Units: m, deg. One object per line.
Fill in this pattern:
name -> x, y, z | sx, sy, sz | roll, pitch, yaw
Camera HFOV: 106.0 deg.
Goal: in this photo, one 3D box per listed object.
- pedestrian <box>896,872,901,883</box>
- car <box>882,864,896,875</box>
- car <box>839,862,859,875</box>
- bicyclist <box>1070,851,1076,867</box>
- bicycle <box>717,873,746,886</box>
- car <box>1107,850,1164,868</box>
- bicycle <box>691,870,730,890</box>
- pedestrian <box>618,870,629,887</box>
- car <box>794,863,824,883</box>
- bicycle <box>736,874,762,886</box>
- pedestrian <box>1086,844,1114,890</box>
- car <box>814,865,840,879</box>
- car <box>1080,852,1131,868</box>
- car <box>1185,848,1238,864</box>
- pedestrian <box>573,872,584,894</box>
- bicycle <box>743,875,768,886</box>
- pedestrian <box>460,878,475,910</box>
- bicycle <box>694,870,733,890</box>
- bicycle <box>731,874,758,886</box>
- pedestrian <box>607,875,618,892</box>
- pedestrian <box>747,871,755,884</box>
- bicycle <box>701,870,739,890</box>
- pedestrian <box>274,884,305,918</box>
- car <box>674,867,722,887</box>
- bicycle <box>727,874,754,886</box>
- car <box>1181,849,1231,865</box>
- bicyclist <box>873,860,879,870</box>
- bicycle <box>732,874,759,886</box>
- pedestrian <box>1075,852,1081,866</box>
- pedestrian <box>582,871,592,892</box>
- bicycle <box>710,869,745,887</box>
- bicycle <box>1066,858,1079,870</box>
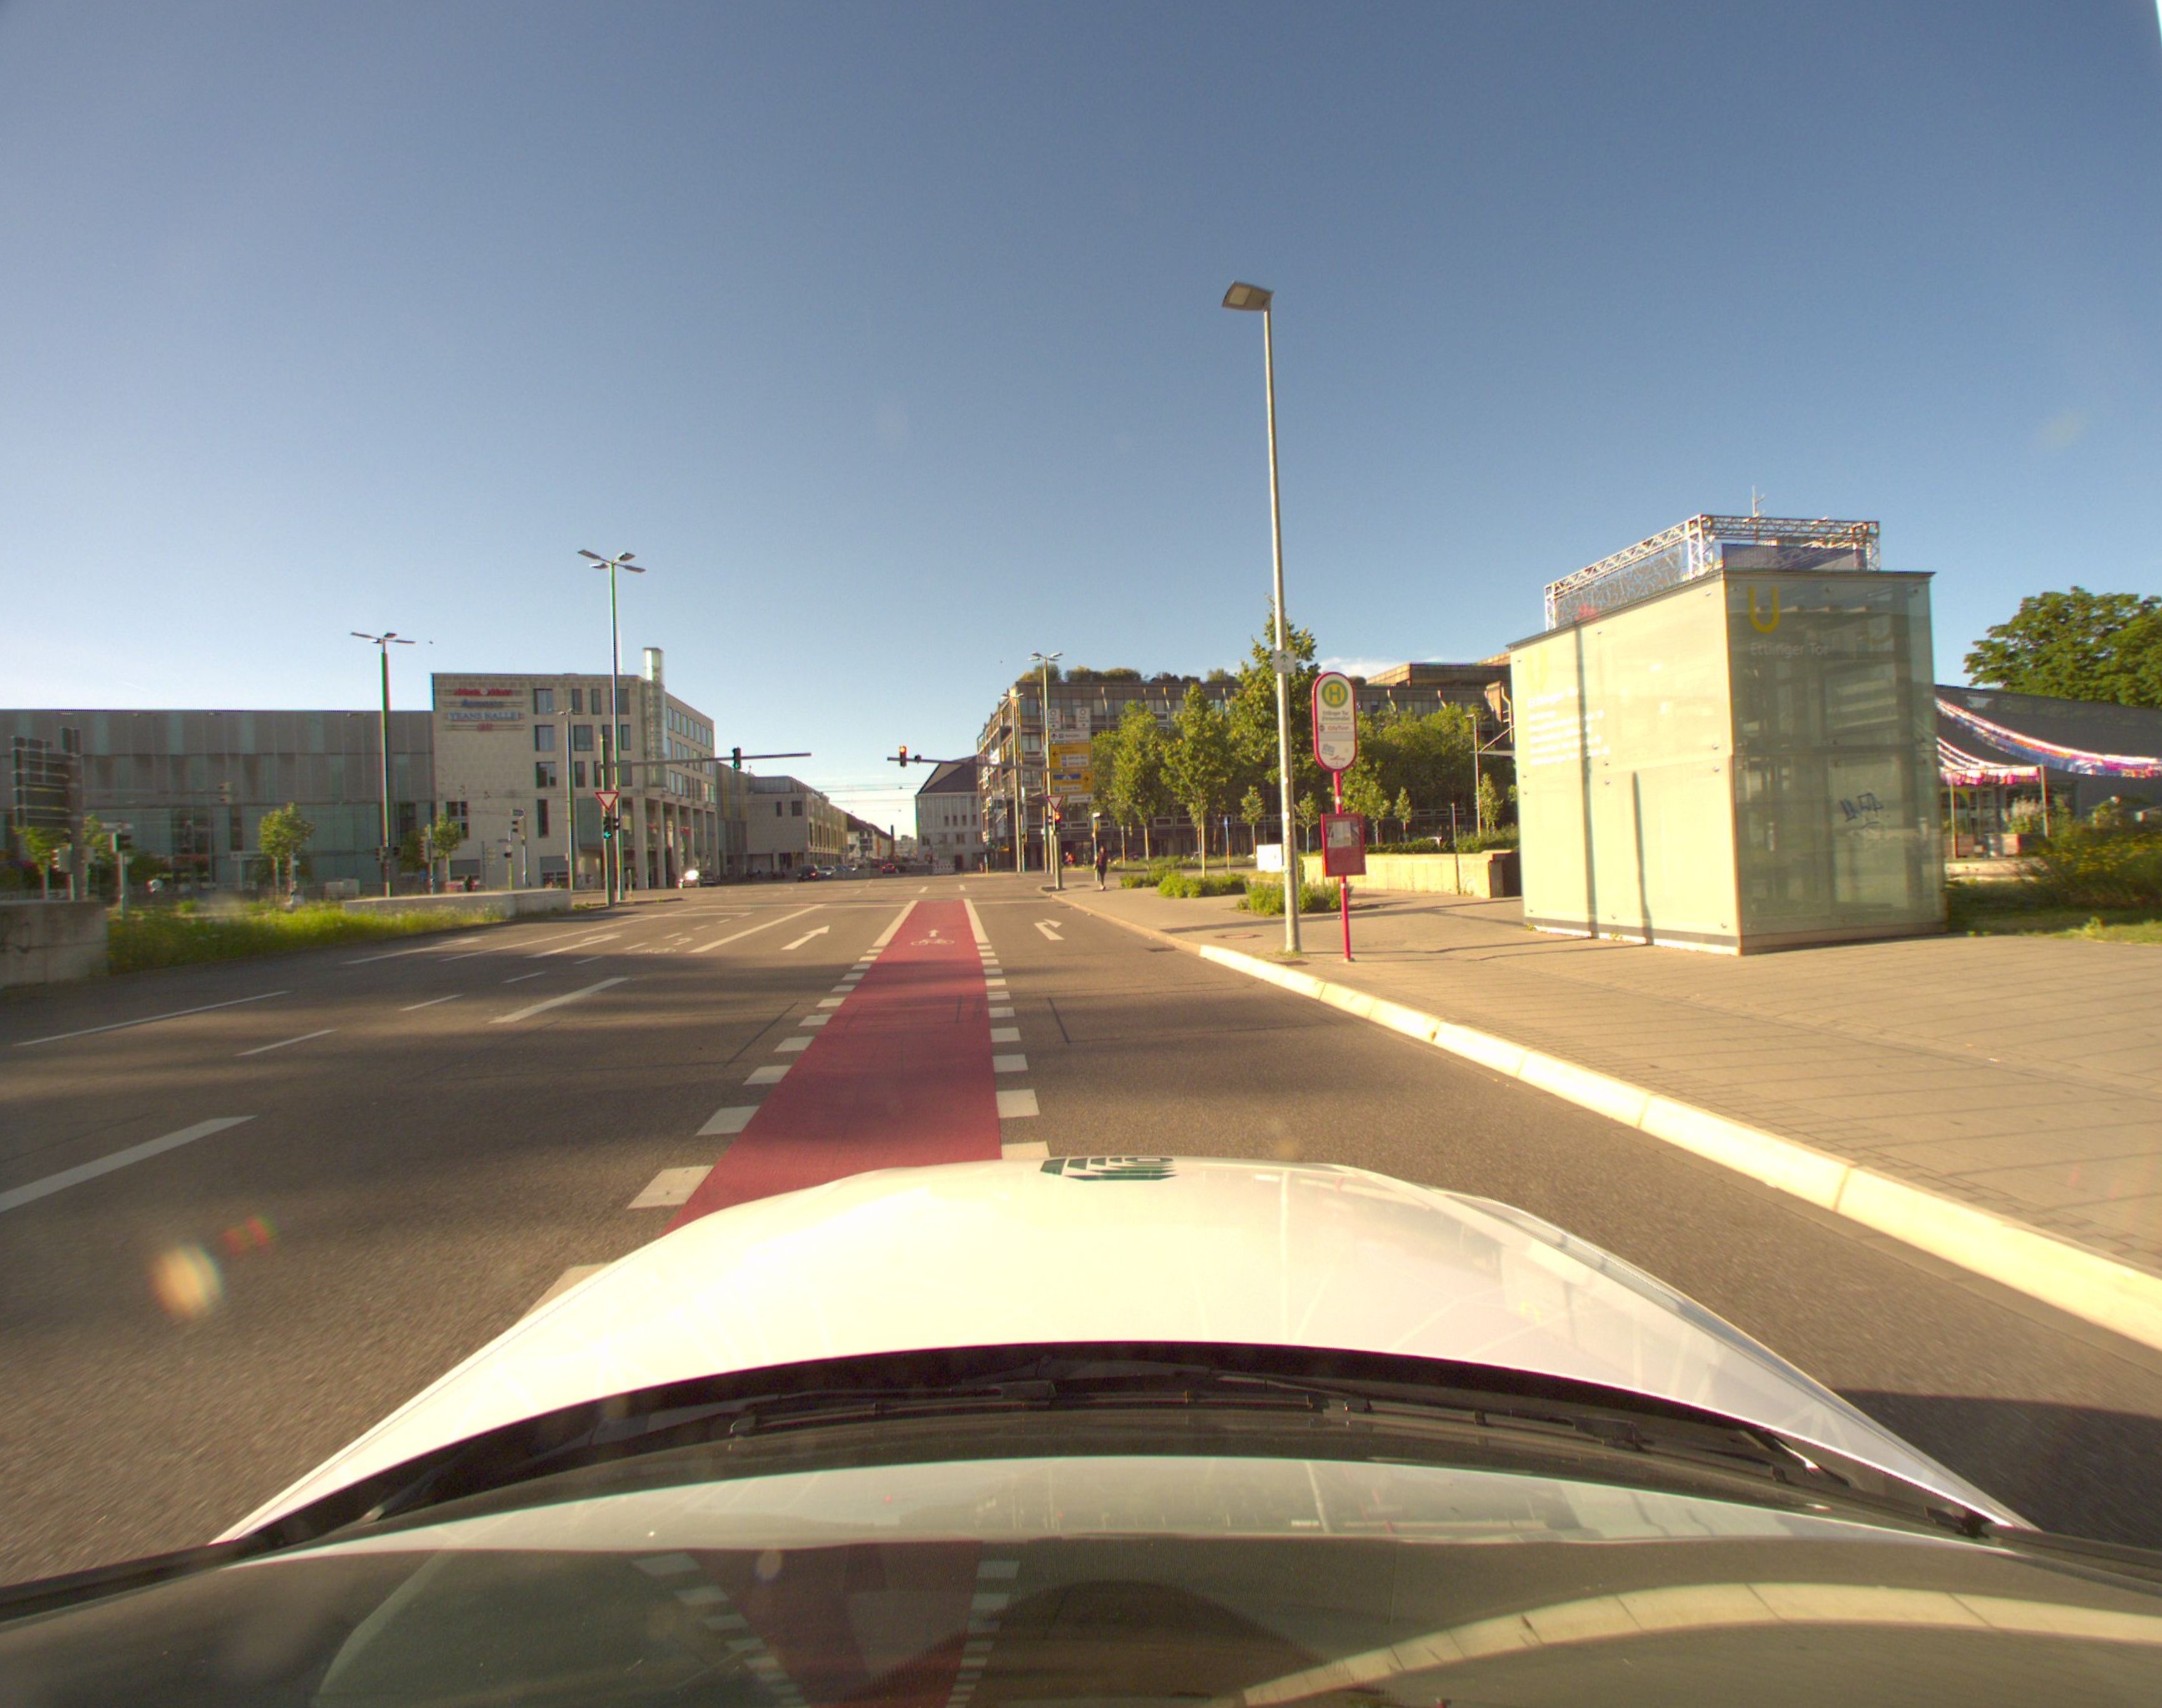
pedestrian -> -29.146, 3.750, 130.230 | 0.715, 1.668, 0.982 | -2, 0, -14
car -> -30.429, 2.394, 129.104 | 1.997, 1.552, 3.980 | -3, 0, -15
car -> -31.919, 2.029, 112.145 | 1.993, 1.623, 4.224 | -3, 0, -9
bicyclist -> -0.710, 0.440, 71.816 | 0.507, 1.338, 0.452 | -3, 0, -6
bicycle -> -42.608, 3.096, 99.345 | 3.054, 1.400, 0.898 | -3, 0, -13
car -> 4.786, 0.410, 71.701 | 4.635, 1.356, 1.992 | -2, 1, -13
bicycle -> -39.973, 2.793, 87.853 | 3.629, 2.013, 1.080 | -3, 0, -17
pedestrian -> -43.026, 2.317, 76.588 | 0.623, 1.608, 0.651 | -2, 0, -9
car -> -26.720, 1.859, 80.167 | 1.993, 1.742, 4.632 | -2, 1, -9
bicycle -> -44.609, 3.526, 109.547 | 3.054, 1.400, 0.898 | -3, 0, -13
pedestrian -> 0.764, 0.487, 32.052 | 0.816, 1.748, 1.045 | -4, 0, 13
car -> -29.264, 2.026, 93.962 | 1.993, 1.356, 4.633 | -2, 1, -8
car -> 2.363, 0.568, 79.029 | 4.635, 1.356, 1.992 | -2, 1, -13
car -> 12.524, 0.192, 78.295 | 4.635, 1.356, 1.992 | -2, 1, -13
pedestrian -> -47.032, 2.743, 76.223 | 0.624, 2.013, 0.513 | -2, 0, -17
bicycle -> -45.388, 3.678, 113.594 | 3.054, 1.400, 0.898 | -3, 0, -13
pedestrian -> -39.746, 2.585, 52.767 | 0.516, 2.013, 0.620 | -2, 0, -21
bicycle -> -40.210, 2.834, 89.166 | 3.624, 2.013, 1.082 | -3, 0, -13
bicycle -> -43.652, 3.362, 105.549 | 3.054, 1.400, 0.898 | -3, 0, -13
pedestrian -> -44.013, 2.781, 76.446 | 0.623, 1.608, 0.651 | -2, 0, -9
pedestrian -> -40.349, 2.891, 99.618 | 0.747, 1.608, 0.618 | -2, 0, -36
bicycle -> -40.135, 2.850, 90.652 | 3.624, 2.013, 1.082 | -3, 0, -13
pedestrian -> -37.799, 2.235, 38.896 | 0.724, 1.502, 0.798 | -2, 0, -18
car -> -31.732, 1.905, 67.497 | 3.740, 1.564, 1.793 | -2, 0, 32
bicycle -> -43.321, 3.300, 103.702 | 3.054, 1.400, 0.898 | -3, 0, -13
car -> 12.558, 0.288, 81.962 | 4.635, 1.356, 1.992 | -2, 1, -13
bicyclist -> -29.981, 1.571, 119.390 | 0.747, 1.460, 0.764 | -3, 0, -11
bicycle -> -44.025, 3.426, 106.916 | 3.054, 1.400, 0.898 | -3, 0, -13
pedestrian -> -0.371, 0.544, 90.527 | 0.621, 1.519, 0.653 | -2, 0, 0
pedestrian -> -46.874, 2.606, 77.275 | 0.624, 2.013, 0.513 | -2, 0, -17
bicycle -> -41.919, 2.840, 96.611 | 3.624, 2.013, 0.898 | -3, 0, -13
bicycle -> -0.743, 0.878, 71.803 | 1.075, 0.971, 0.457 | -3, 0, -7
